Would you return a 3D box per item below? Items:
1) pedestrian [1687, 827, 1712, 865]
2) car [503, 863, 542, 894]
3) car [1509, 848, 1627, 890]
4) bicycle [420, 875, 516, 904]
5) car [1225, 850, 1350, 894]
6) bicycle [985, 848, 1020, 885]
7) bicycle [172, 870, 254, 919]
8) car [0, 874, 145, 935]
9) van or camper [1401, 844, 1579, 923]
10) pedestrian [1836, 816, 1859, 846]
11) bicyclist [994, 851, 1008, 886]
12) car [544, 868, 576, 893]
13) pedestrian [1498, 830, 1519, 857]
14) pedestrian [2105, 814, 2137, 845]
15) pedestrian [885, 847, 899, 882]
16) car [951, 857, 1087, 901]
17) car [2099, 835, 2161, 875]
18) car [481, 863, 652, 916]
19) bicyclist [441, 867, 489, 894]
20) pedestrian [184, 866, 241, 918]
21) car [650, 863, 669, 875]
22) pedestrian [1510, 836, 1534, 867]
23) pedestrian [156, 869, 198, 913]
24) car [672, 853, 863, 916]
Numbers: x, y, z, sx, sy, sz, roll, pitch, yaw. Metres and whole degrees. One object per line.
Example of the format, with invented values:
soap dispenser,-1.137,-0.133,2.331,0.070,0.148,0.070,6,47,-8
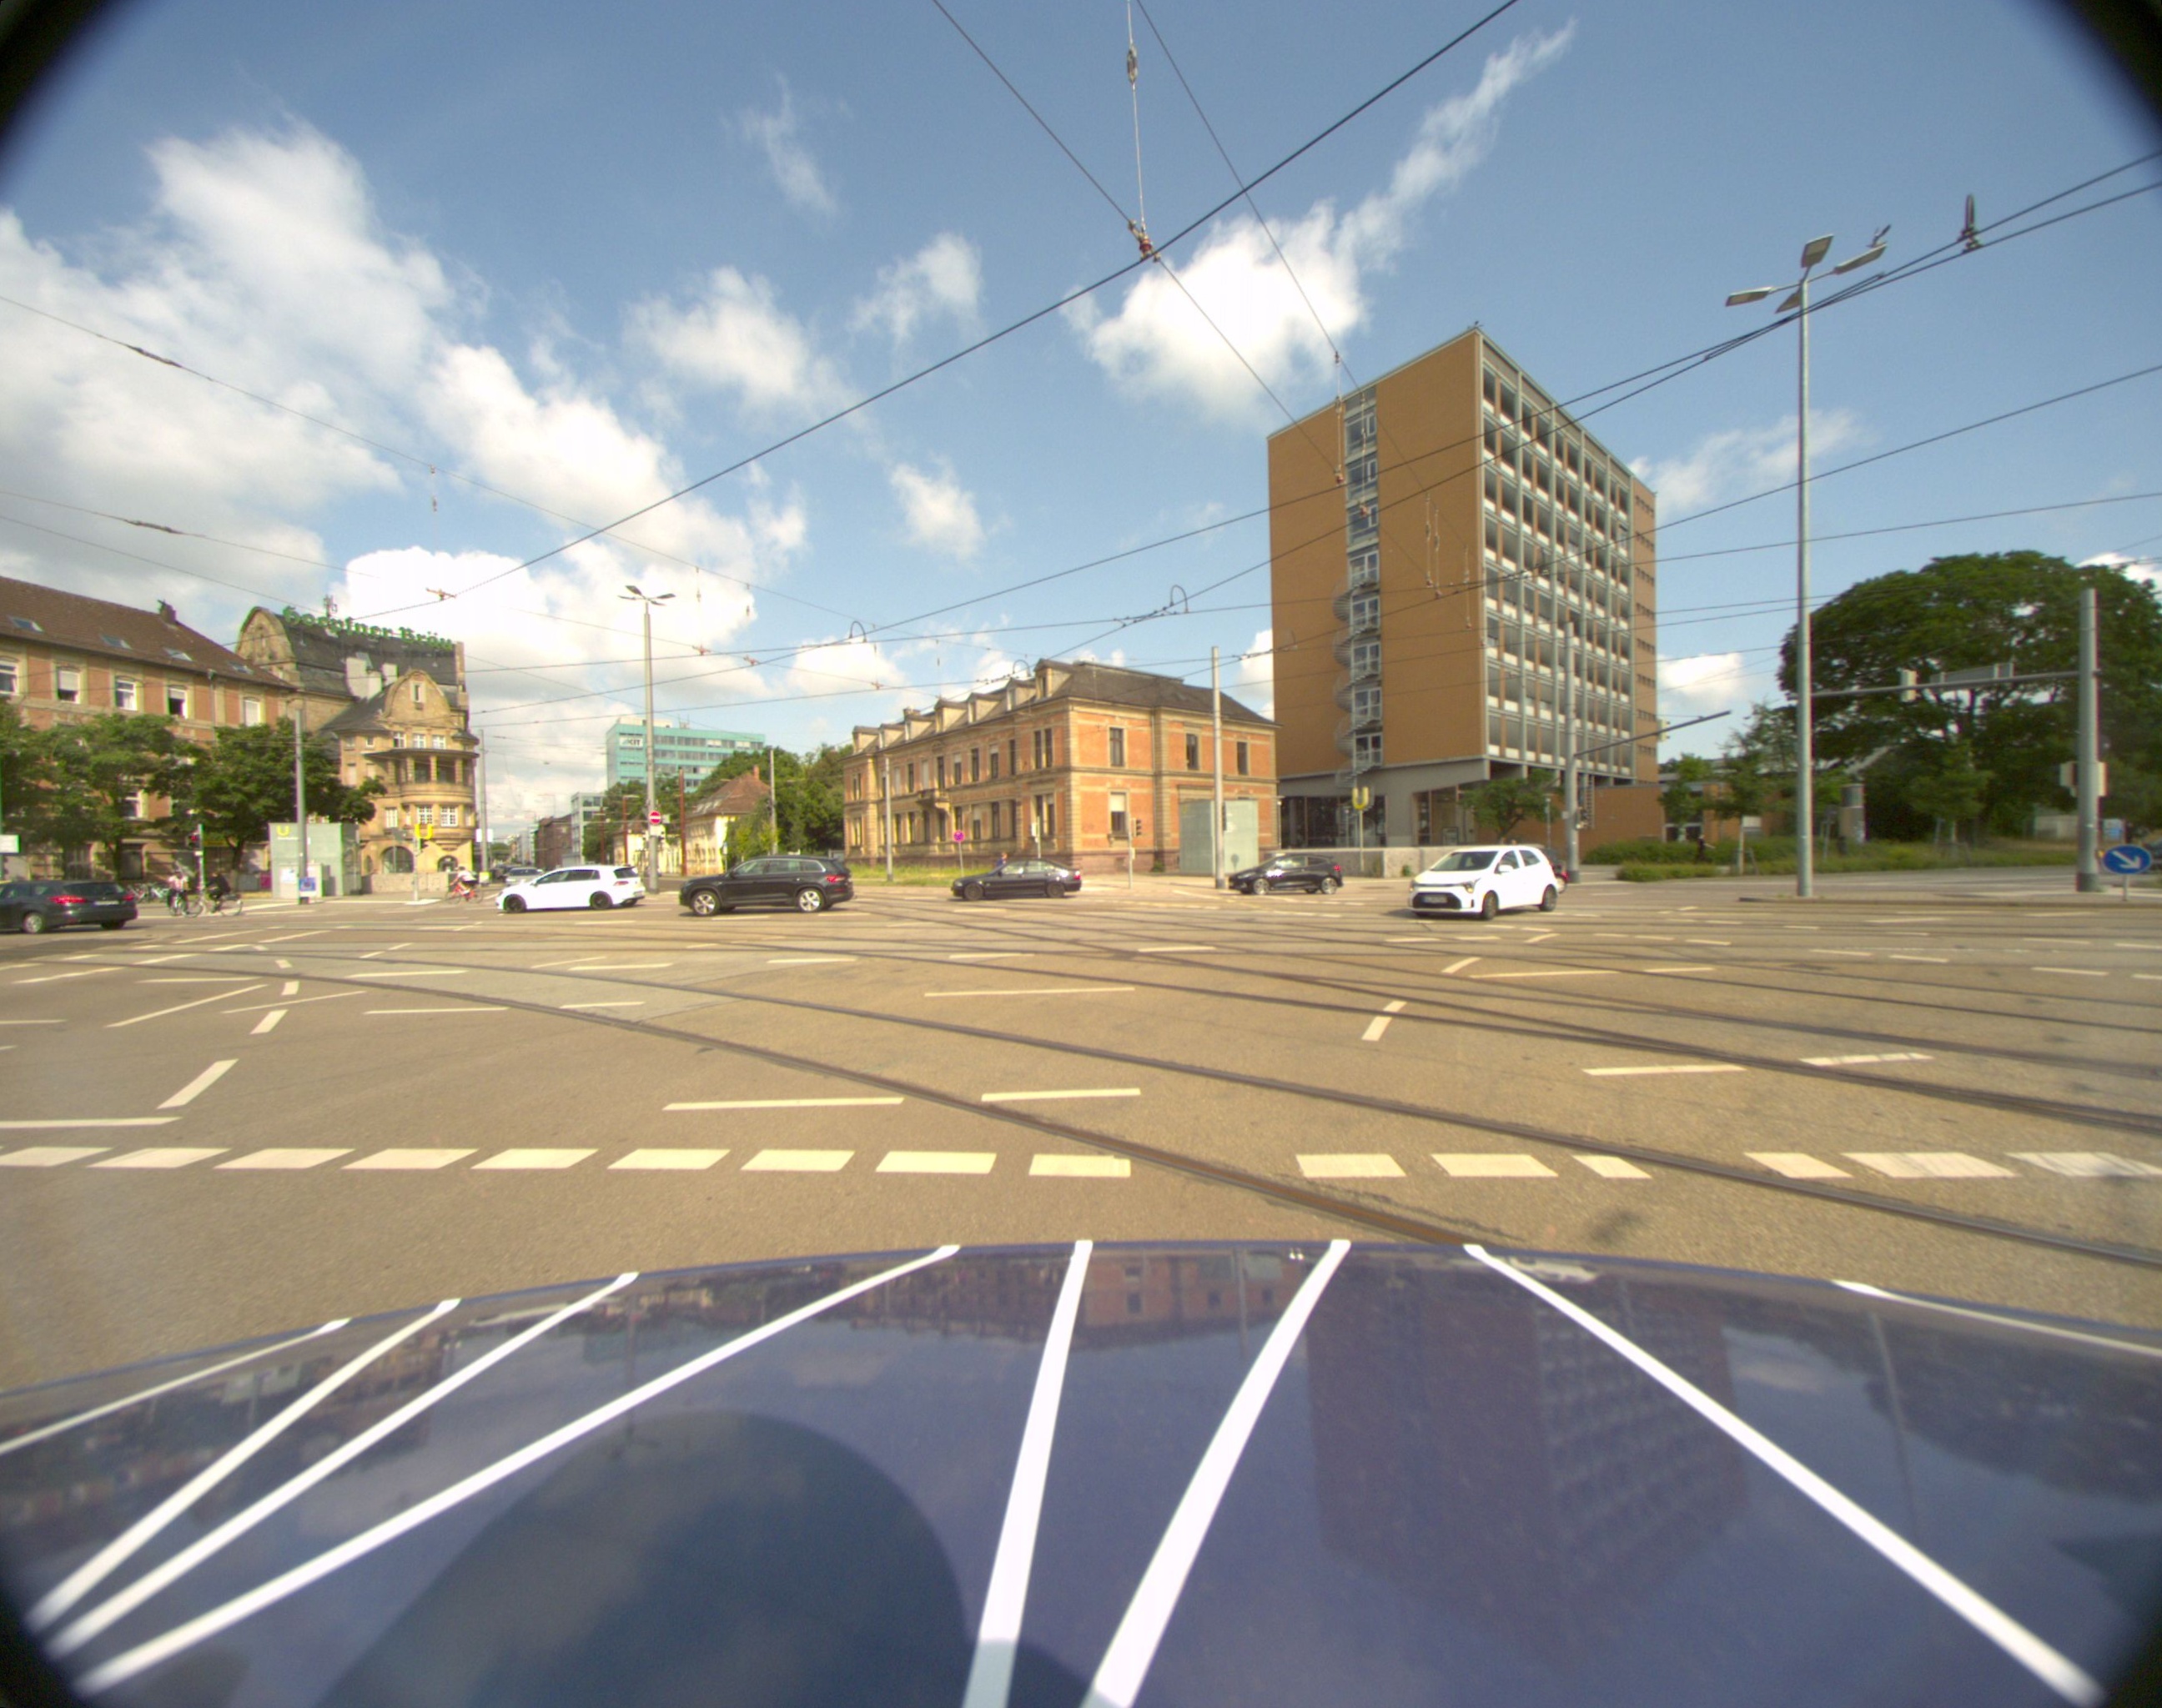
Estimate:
pedestrian,33.610,-0.441,41.304,0.805,2.004,0.725,3,8,27
car,-34.672,1.462,47.268,1.757,1.592,3.988,-3,4,-35
car,16.153,0.481,25.254,3.010,1.207,1.608,-2,2,-9
bicycle,-26.897,1.560,33.391,3.109,1.022,0.995,-3,2,-10
car,7.367,0.609,27.352,3.998,1.445,1.713,-1,1,-3
bicycle,-3.920,0.624,38.030,1.636,1.767,0.731,-1,1,-5
bicycle,-32.413,1.481,28.369,2.463,1.716,1.009,0,3,18
car,-29.213,1.370,21.173,4.251,1.520,1.773,0,2,4
van or camper,8.848,0.569,16.352,4.007,1.467,1.624,-1,0,-33
pedestrian,39.855,-1.198,39.515,0.581,1.513,0.479,-1,6,-5
bicyclist,-4.024,0.718,38.046,0.656,1.662,0.573,-1,3,-6
car,-39.600,1.968,57.711,1.920,1.500,3.988,-3,4,-35
pedestrian,25.339,-0.599,45.048,0.936,1.579,0.766,-1,1,21
pedestrian,63.385,-1.504,46.310,0.645,1.862,0.759,-2,7,-12
pedestrian,-11.201,0.619,45.028,0.660,2.003,0.648,-2,4,-18
car,-2.150,0.829,26.115,4.508,1.390,1.998,0,1,-7
car,38.649,0.001,26.585,4.546,1.274,1.996,-2,3,-14
car,-16.571,1.109,24.658,4.231,1.438,1.683,-2,1,-6
bicyclist,-27.032,1.146,33.355,1.215,1.022,0.992,-4,3,-10
pedestrian,-32.448,1.404,28.390,0.994,1.831,0.996,0,4,18
car,-56.728,2.004,102.200,1.760,1.521,3.988,-1,2,-36
pedestrian,22.678,-0.147,39.058,0.766,1.579,0.771,-2,1,-27
pedestrian,-34.780,1.422,29.237,0.709,1.633,0.795,-2,1,-25
car,-8.774,0.819,21.653,4.684,1.658,1.998,0,1,-9
